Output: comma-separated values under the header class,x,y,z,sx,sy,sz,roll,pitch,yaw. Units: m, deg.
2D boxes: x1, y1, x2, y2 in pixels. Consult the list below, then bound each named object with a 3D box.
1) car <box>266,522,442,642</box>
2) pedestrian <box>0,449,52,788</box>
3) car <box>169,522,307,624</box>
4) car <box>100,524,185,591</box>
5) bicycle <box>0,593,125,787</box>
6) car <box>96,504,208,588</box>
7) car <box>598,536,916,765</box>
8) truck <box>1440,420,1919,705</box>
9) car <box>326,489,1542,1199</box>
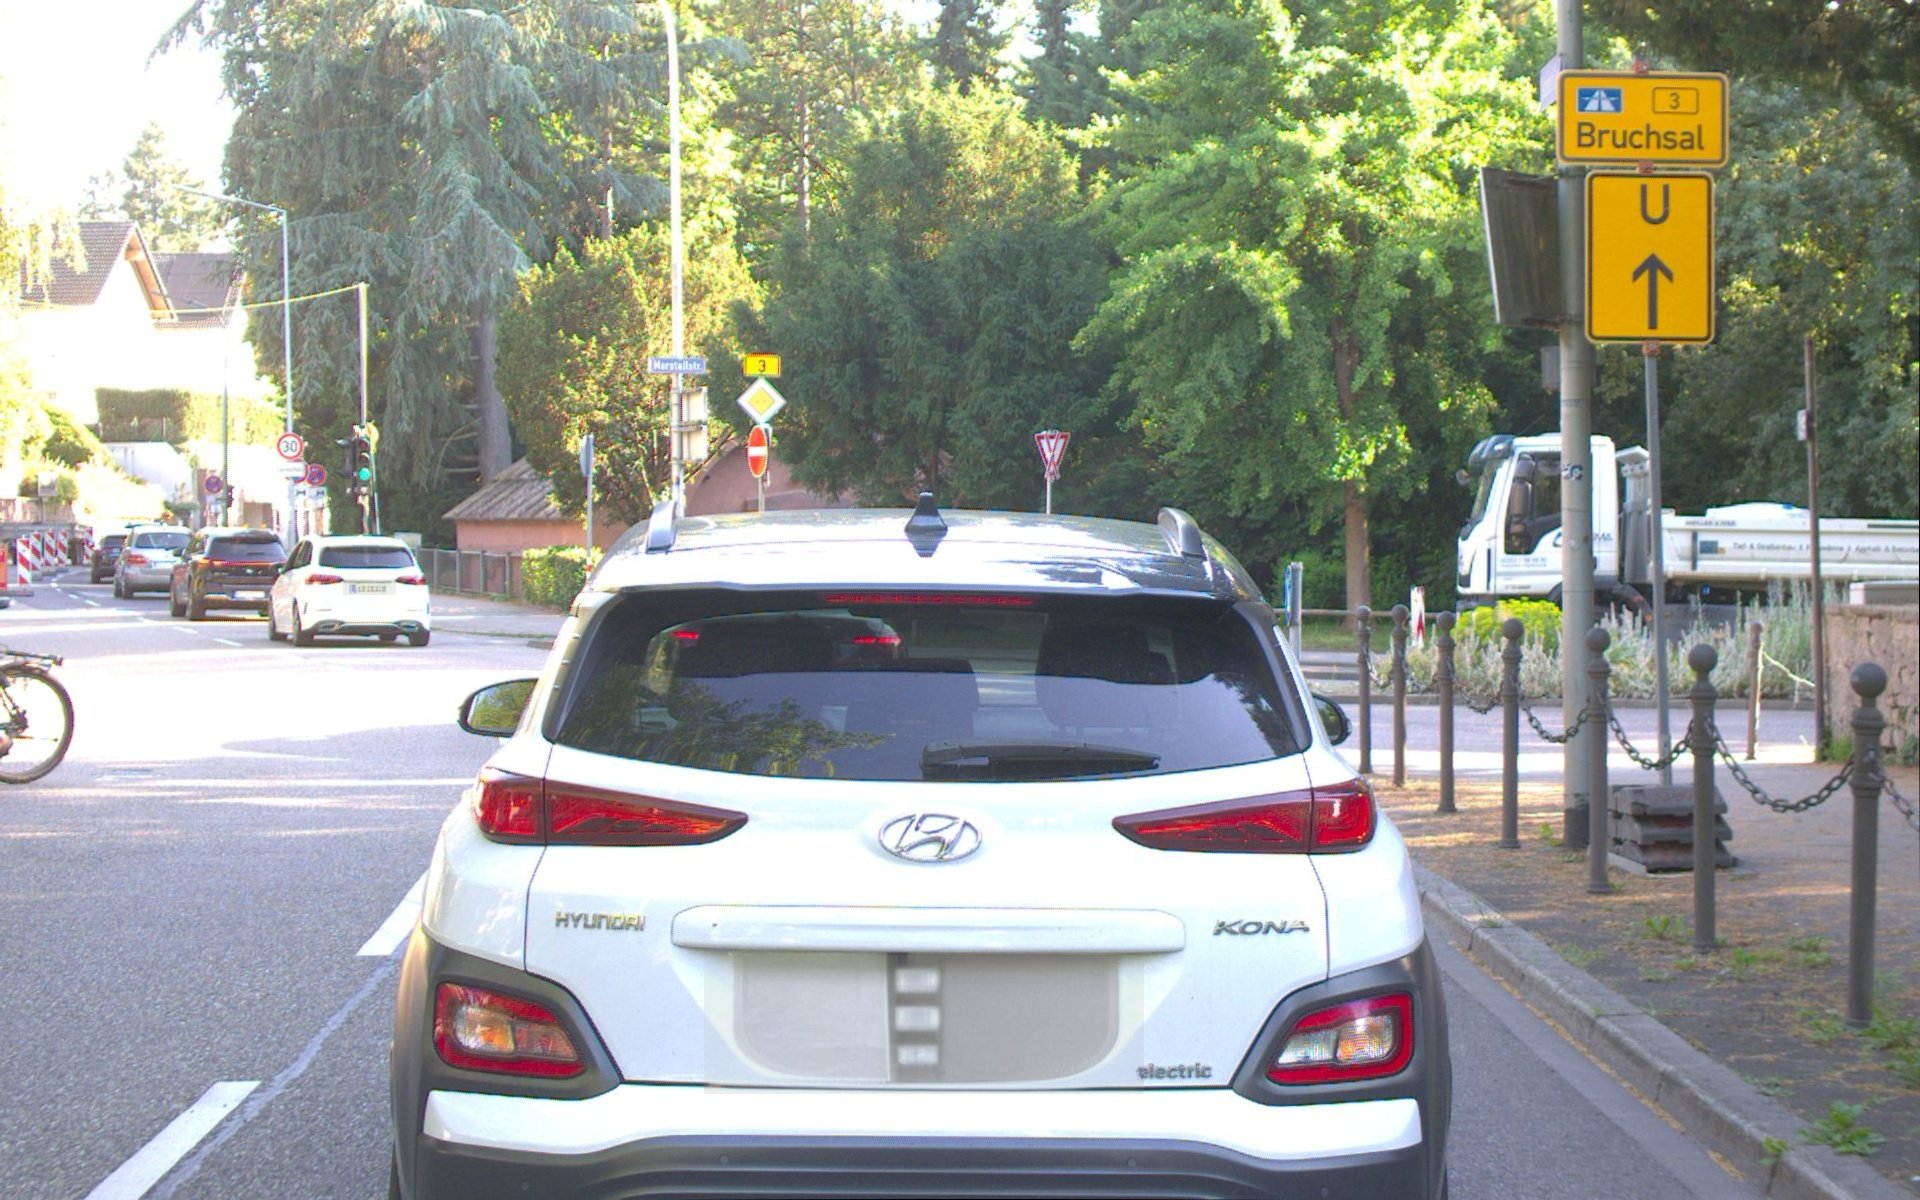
class,x,y,z,sx,sy,sz,roll,pitch,yaw
car,-8.425,-0.280,47.575,1.805,1.532,4.001,2,1,-18
pedestrian,-5.481,0.088,18.533,0.940,1.820,0.554,1,1,-38
car,-12.733,-0.499,60.465,1.831,1.656,4.001,2,1,-19
car,-21.266,-1.120,89.384,1.831,1.656,4.001,1,1,-17
bicycle,-5.601,0.489,18.983,1.812,1.039,0.561,1,3,-37
car,-17.803,-1.199,75.635,1.831,1.735,4.001,2,1,-21
car,-1.544,0.296,24.579,1.707,1.429,4.366,2,1,-10
truck,8.717,-0.400,37.855,6.588,2.885,2.433,2,1,5
car,-0.074,0.607,7.240,1.820,1.568,4.000,2,1,-1
